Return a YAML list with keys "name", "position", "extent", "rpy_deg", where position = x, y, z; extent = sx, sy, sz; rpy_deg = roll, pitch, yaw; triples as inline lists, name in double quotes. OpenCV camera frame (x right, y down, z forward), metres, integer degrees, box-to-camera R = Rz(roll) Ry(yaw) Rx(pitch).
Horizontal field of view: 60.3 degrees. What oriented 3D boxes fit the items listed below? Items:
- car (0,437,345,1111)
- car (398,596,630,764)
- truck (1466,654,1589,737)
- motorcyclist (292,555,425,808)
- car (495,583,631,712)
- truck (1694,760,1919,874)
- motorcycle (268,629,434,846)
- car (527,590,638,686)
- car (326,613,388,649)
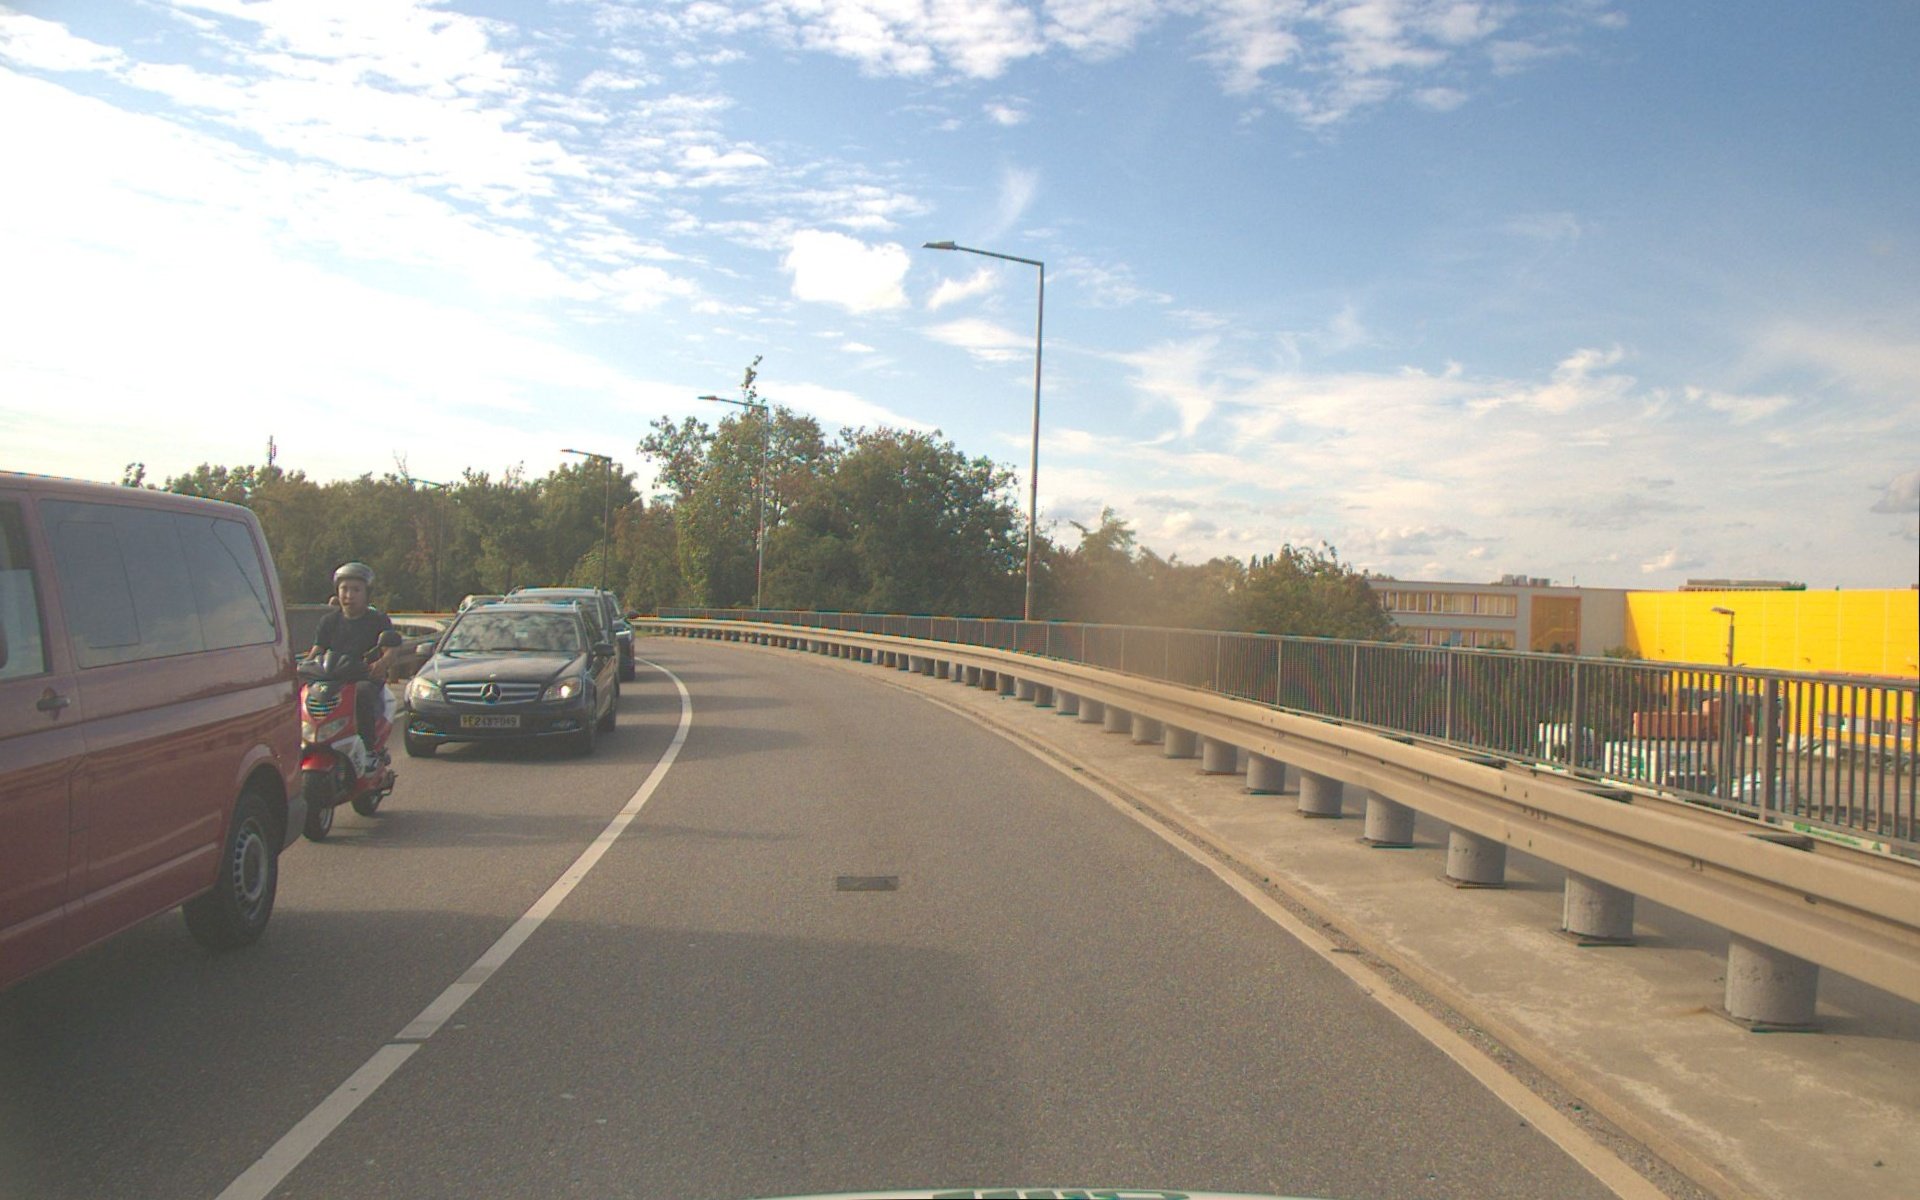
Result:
- name: "car"
  position: [-3.814, 0.507, 5.582]
  extent: [1.968, 1.936, 4.863]
  rpy_deg: [-1, 0, -4]
- name: "car"
  position: [-4.467, 0.718, 17.196]
  extent: [1.799, 1.491, 4.509]
  rpy_deg: [-1, 0, -8]
- name: "truck"
  position: [37.541, 6.194, 110.006]
  extent: [3.558, 4.940, 11.266]
  rpy_deg: [0, 0, -4]
- name: "motorcyclist"
  position: [-3.939, 0.510, 10.890]
  extent: [0.608, 1.580, 0.936]
  rpy_deg: [-1, 0, -7]
- name: "car"
  position: [-5.637, 0.620, 23.863]
  extent: [1.651, 1.678, 4.287]
  rpy_deg: [-1, 0, -11]
- name: "truck"
  position: [34.917, 8.867, 67.955]
  extent: [8.419, 4.162, 2.665]
  rpy_deg: [0, 1, -3]
- name: "motorcycle"
  position: [-3.979, 0.845, 10.928]
  extent: [0.608, 1.274, 1.790]
  rpy_deg: [-1, 0, -6]
- name: "car"
  position: [-7.143, 0.663, 31.498]
  extent: [1.892, 1.678, 4.574]
  rpy_deg: [-1, 0, -12]
- name: "car"
  position: [-31.879, 1.592, 87.356]
  extent: [1.884, 1.842, 5.341]
  rpy_deg: [0, 0, -33]
